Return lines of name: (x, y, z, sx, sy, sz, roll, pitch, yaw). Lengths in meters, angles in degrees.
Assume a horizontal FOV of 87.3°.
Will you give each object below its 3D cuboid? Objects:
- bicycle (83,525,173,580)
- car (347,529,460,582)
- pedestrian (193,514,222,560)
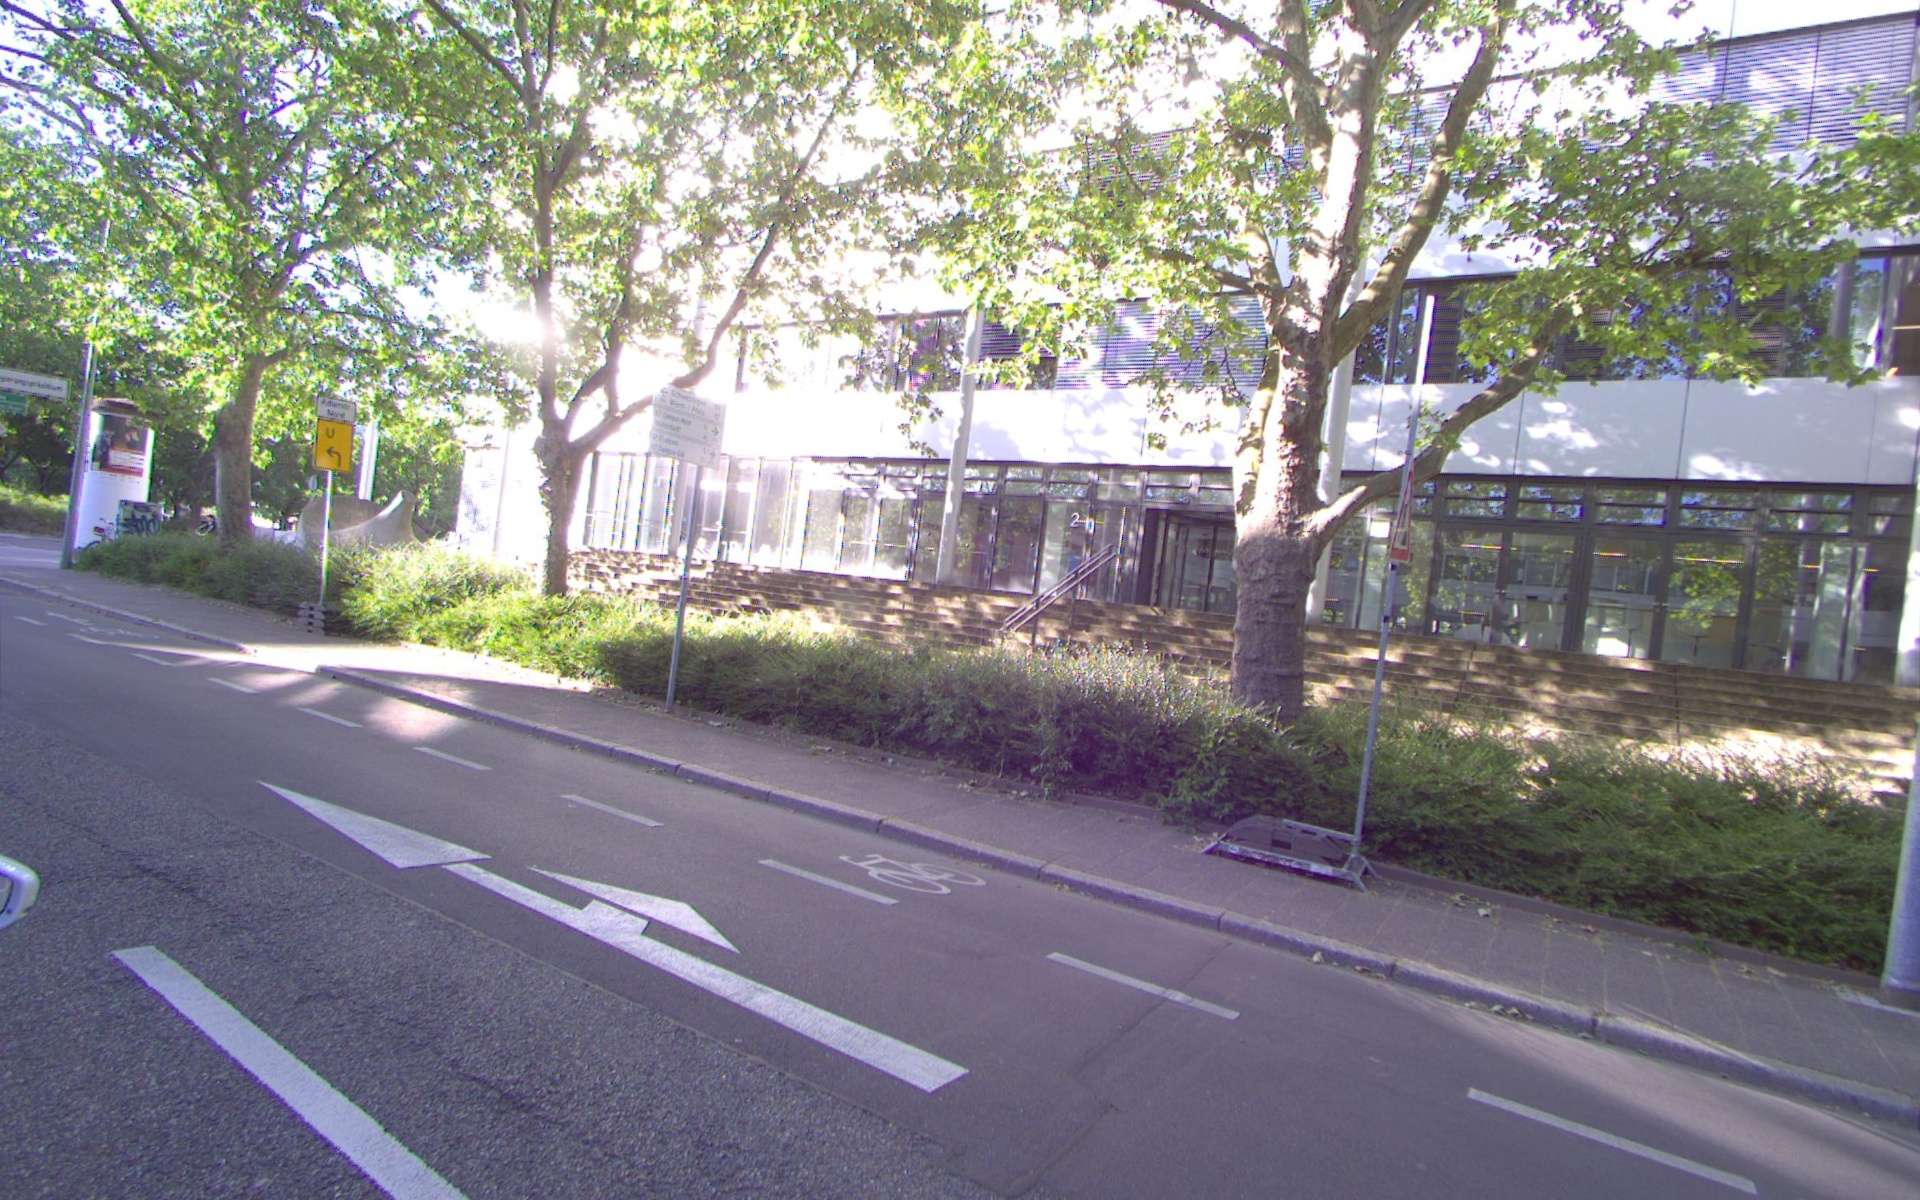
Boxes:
bicycle: (-19.089, -1.087, 23.101, 0.529, 1.049, 1.418, 7, -1, 28)
car: (-25.871, -2.055, 46.848, 1.969, 1.805, 3.998, 7, -1, 37)
pedestrian: (-31.394, -2.632, 41.979, 0.620, 1.805, 0.620, 7, 0, 34)
